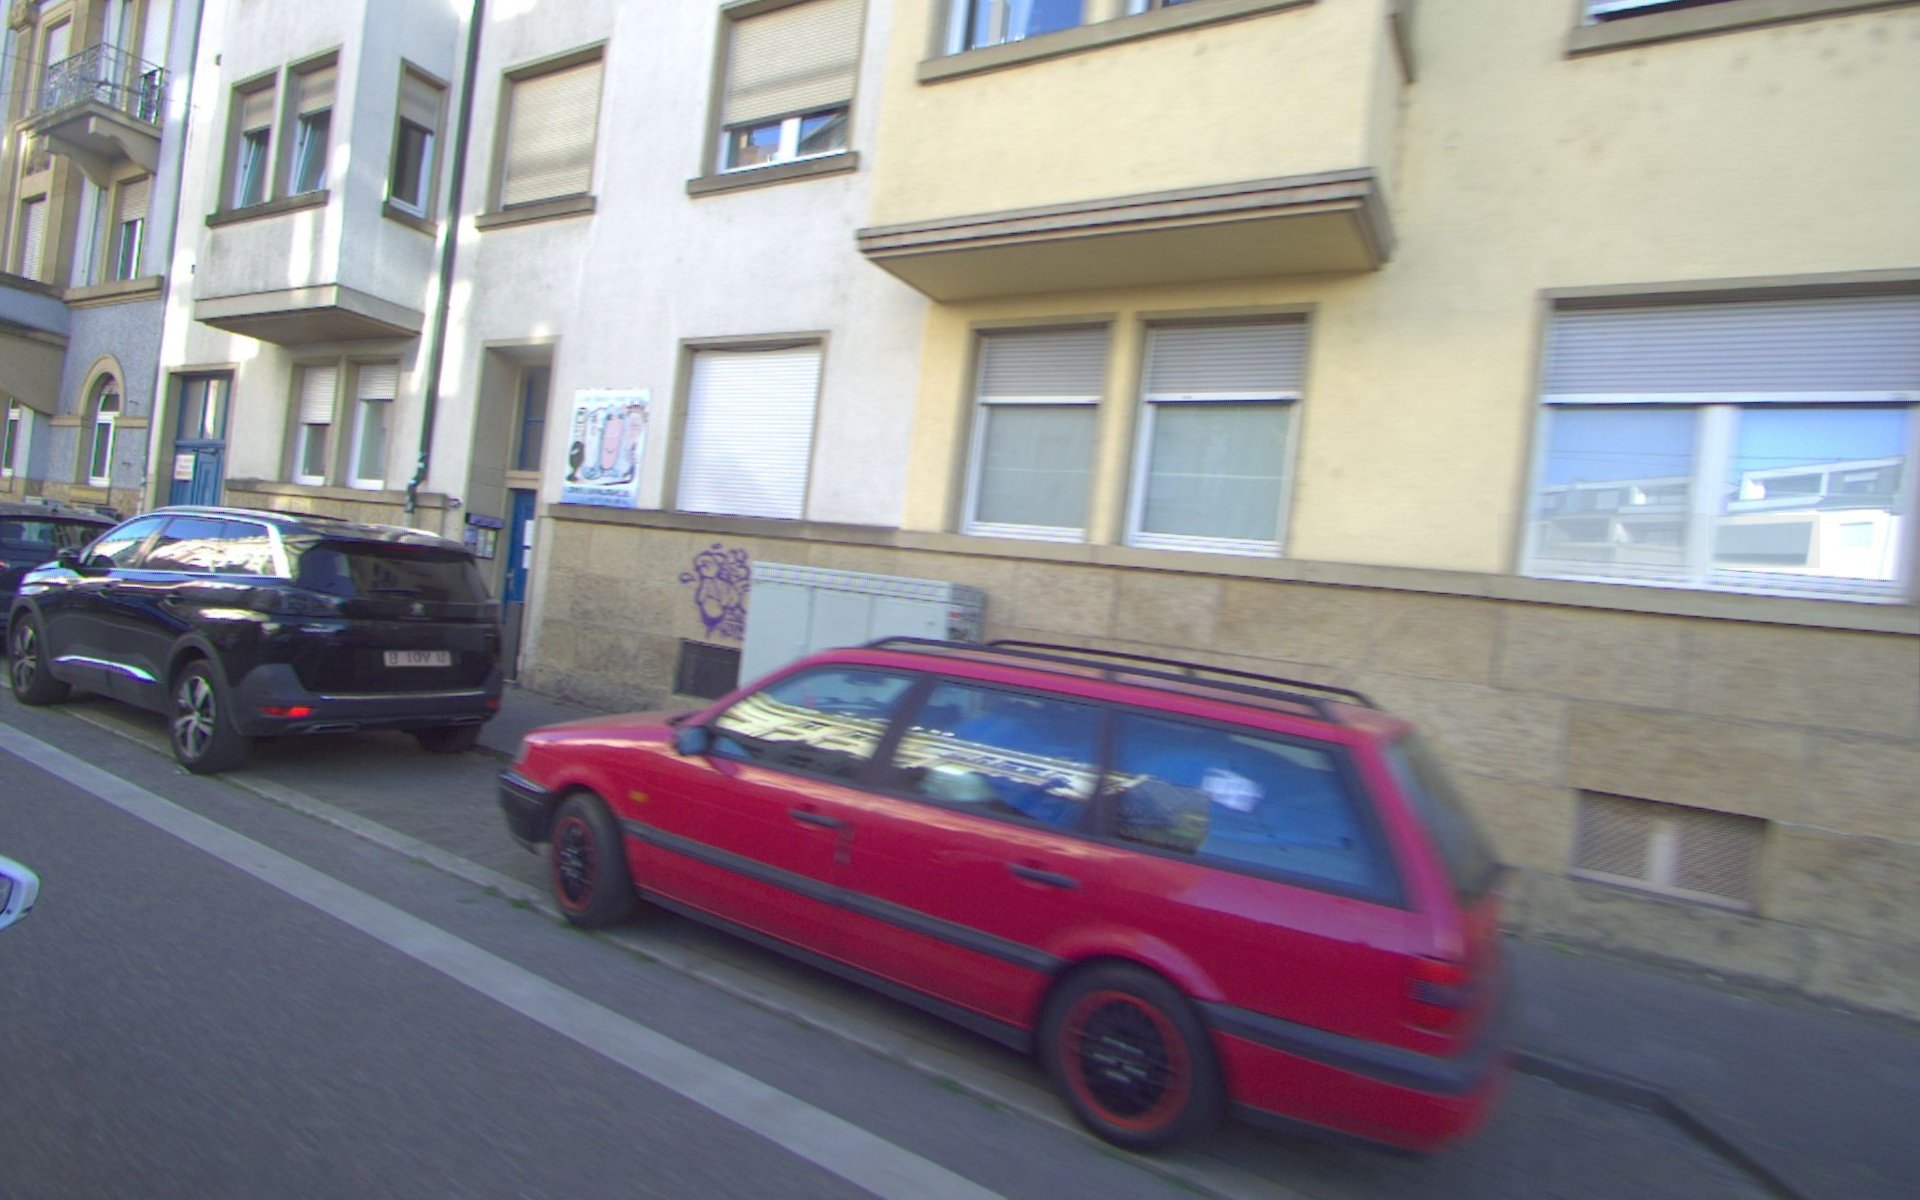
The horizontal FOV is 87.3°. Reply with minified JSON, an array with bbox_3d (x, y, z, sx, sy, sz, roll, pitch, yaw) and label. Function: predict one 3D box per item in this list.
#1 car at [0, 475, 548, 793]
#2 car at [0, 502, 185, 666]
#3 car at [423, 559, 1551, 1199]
[{"bbox_3d":[-5.424,0.123,7.670,4.487,1.685,1.861,6,-1,33],"label":"car"},{"bbox_3d":[-10.197,-0.310,10.636,3.965,1.459,1.740,6,-1,31],"label":"car"},{"bbox_3d":[-0.144,0.826,4.496,4.633,1.473,1.861,6,-1,33],"label":"car"}]
